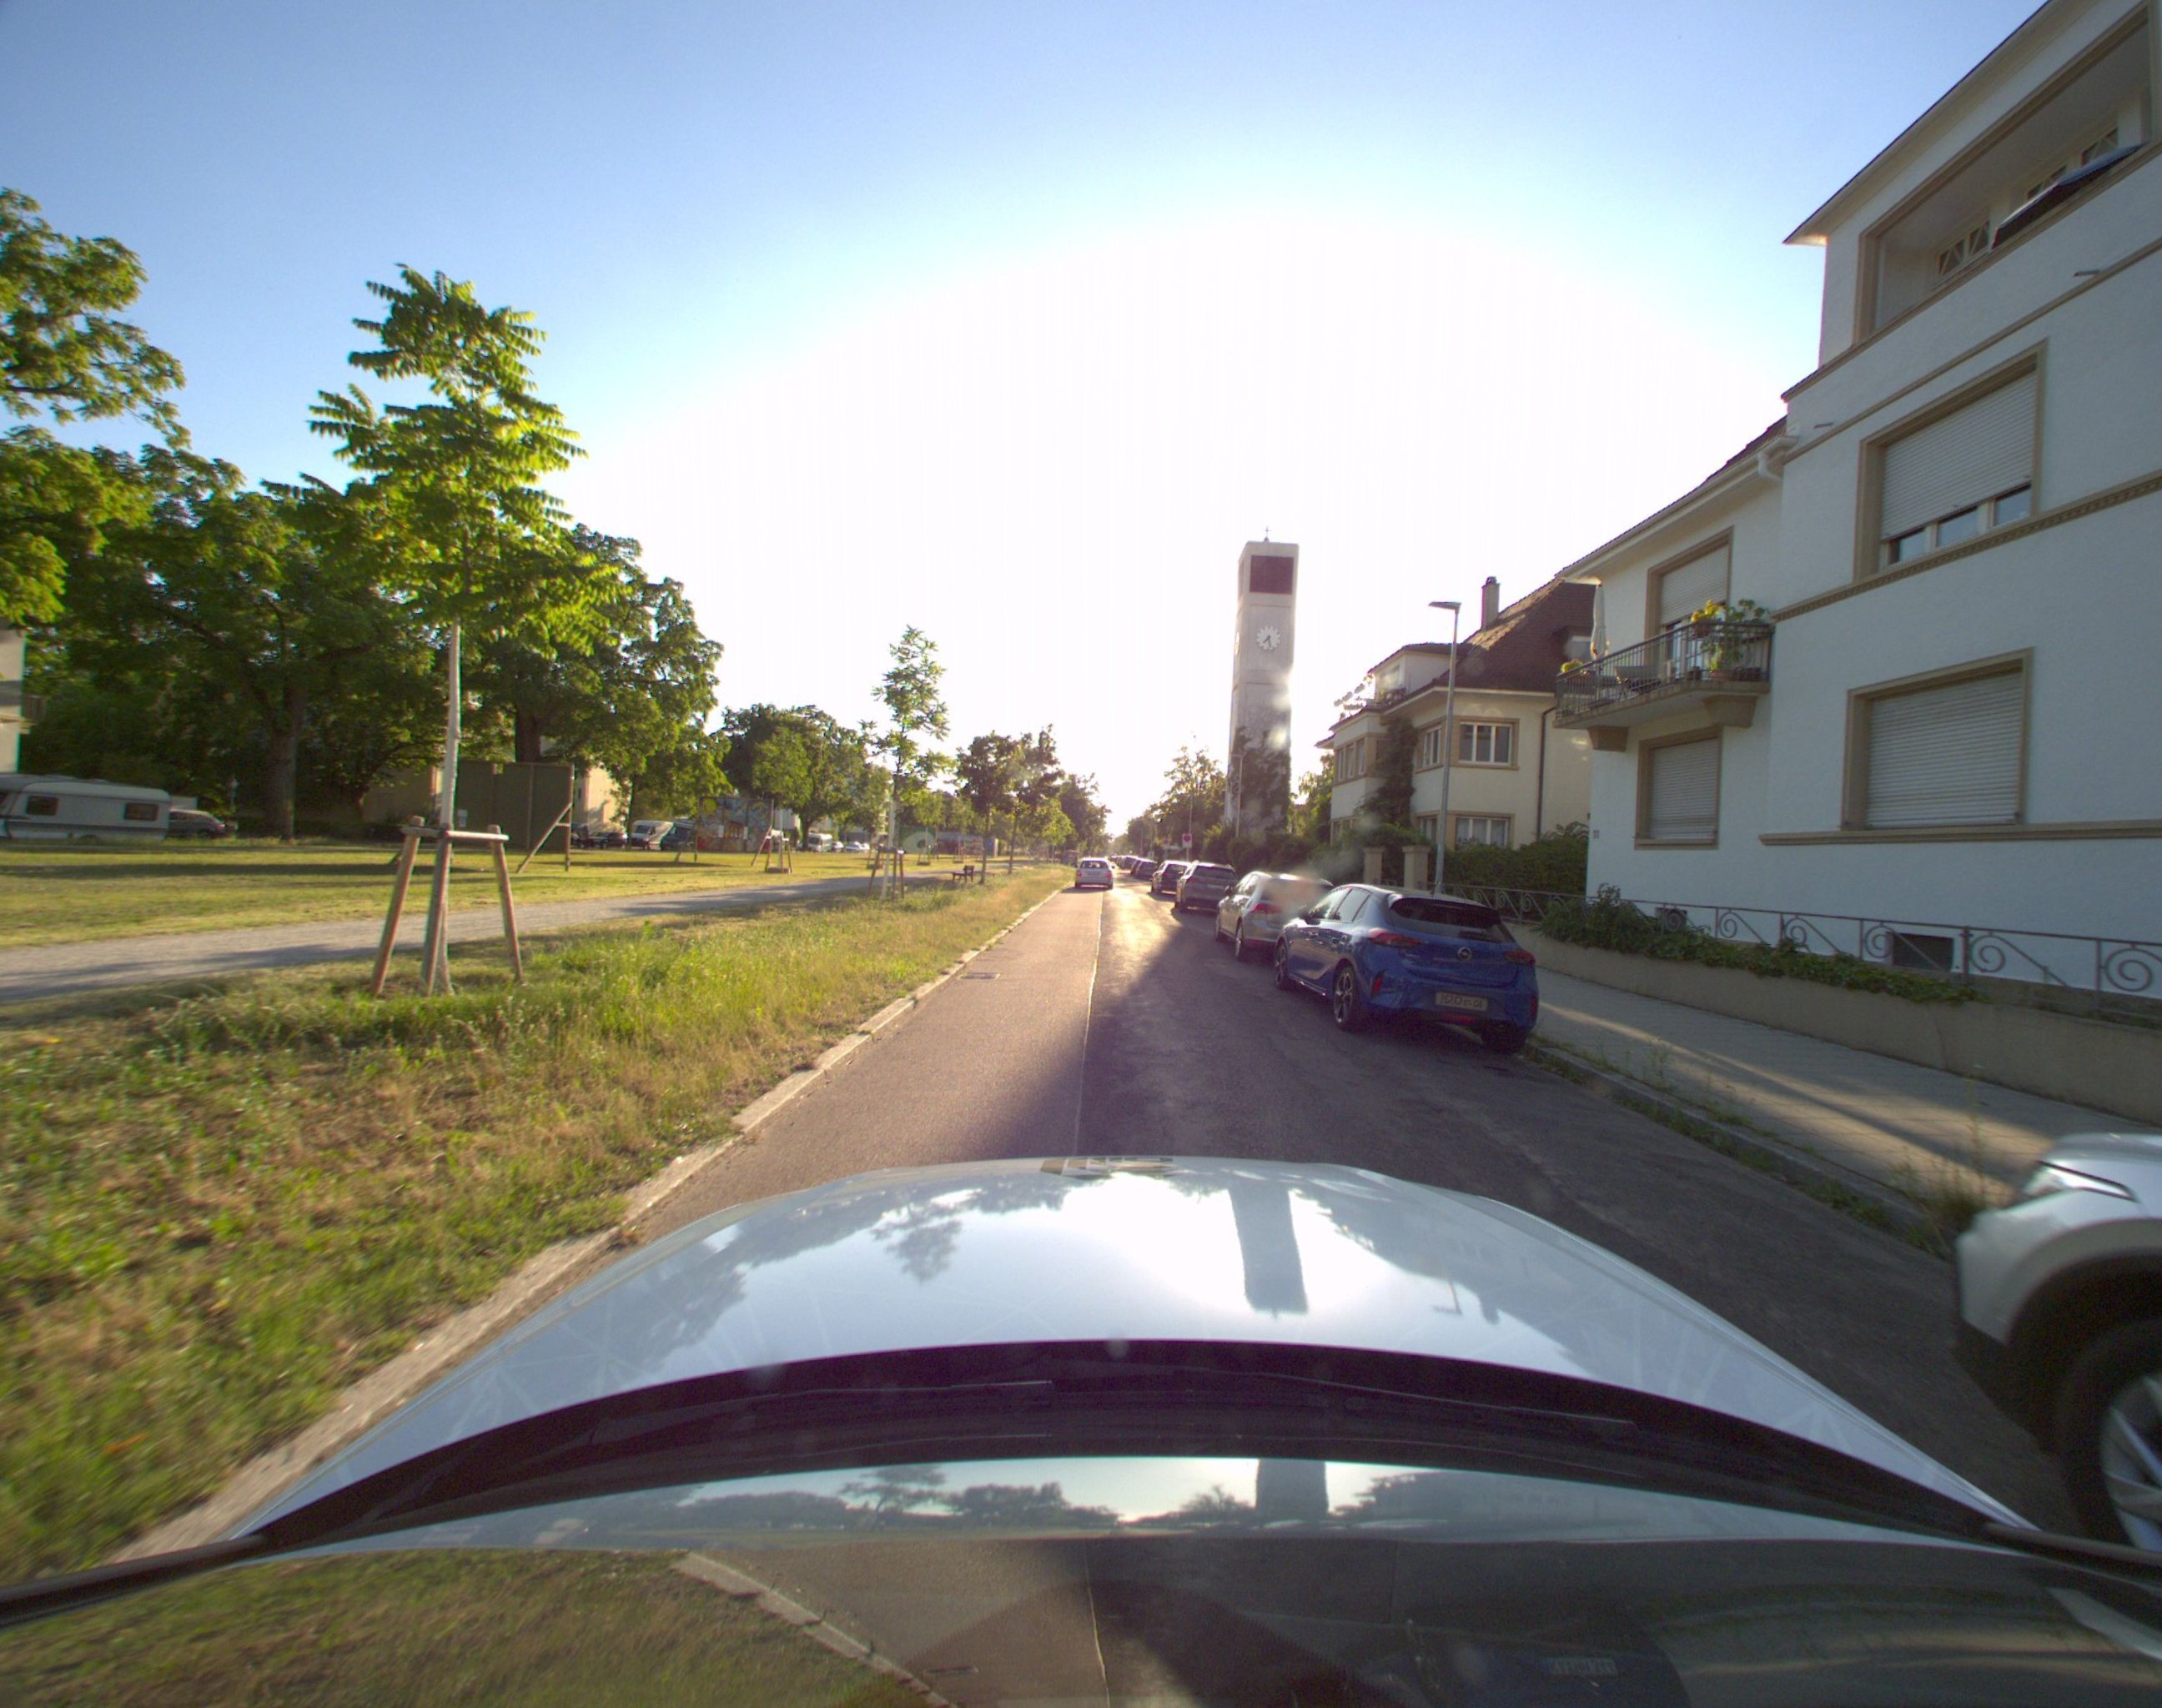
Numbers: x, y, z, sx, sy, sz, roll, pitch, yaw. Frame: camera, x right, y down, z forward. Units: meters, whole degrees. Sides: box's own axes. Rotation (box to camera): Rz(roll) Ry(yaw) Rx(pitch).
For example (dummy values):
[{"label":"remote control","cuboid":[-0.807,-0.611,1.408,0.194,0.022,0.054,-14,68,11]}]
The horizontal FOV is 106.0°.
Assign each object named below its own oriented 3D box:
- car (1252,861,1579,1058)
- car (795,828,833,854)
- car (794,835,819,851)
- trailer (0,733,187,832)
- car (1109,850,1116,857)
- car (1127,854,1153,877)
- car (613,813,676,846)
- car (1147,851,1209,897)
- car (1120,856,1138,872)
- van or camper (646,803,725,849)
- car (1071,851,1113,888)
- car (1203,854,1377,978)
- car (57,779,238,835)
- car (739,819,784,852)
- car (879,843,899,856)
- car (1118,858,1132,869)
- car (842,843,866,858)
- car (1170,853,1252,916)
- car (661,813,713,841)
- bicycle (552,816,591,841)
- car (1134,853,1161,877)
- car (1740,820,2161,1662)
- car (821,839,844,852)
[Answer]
[{"label":"car","cuboid":[3.354,0.949,9.205,1.757,1.435,4.302,10,-1,0]},{"label":"car","cuboid":[-30.945,-1.446,94.653,2.252,2.826,5.873,0,-1,2]},{"label":"car","cuboid":[-36.578,-1.441,108.631,1.723,1.854,4.715,0,-1,1]},{"label":"trailer","cuboid":[-32.913,-2.192,25.434,2.464,2.659,6.637,0,-1,1]},{"label":"car","cuboid":[9.814,-0.051,253.062,1.981,2.023,4.002,4,0,2]},{"label":"car","cuboid":[4.928,0.926,68.149,1.816,1.561,4.624,10,0,2]},{"label":"car","cuboid":[-38.031,-2.068,71.160,1.986,2.598,6.091,0,-1,1]},{"label":"car","cuboid":[4.133,0.866,35.570,1.987,1.597,4.886,8,-1,1]},{"label":"car","cuboid":[5.665,1.170,96.563,1.826,1.732,5.032,6,-1,1]},{"label":"van or camper","cuboid":[-31.792,-2.161,65.808,2.631,3.262,6.908,4,0,2]},{"label":"car","cuboid":[0.580,0.687,38.380,1.816,1.566,4.002,2,0,2]},{"label":"car","cuboid":[3.474,0.928,14.494,1.904,1.559,4.569,8,1,2]},{"label":"car","cuboid":[-38.727,-1.887,34.011,1.882,1.912,4.717,4,0,2]},{"label":"car","cuboid":[-36.765,-2.082,93.875,2.294,3.559,6.767,0,-1,2]},{"label":"car","cuboid":[-30.273,-0.758,128.455,1.882,1.917,4.328,0,-1,2]},{"label":"car","cuboid":[6.702,1.386,124.298,1.985,1.462,4.565,5,0,3]},{"label":"car","cuboid":[-30.692,-0.434,110.265,1.826,1.899,4.645,0,-1,3]},{"label":"car","cuboid":[3.861,0.890,24.846,1.876,1.536,4.465,7,-1,3]},{"label":"car","cuboid":[-31.792,-2.161,65.808,1.986,2.013,4.002,4,0,2]},{"label":"bicycle","cuboid":[-29.395,-1.444,47.027,0.508,1.342,2.333,4,0,5]},{"label":"car","cuboid":[4.948,0.777,61.200,1.681,1.527,4.177,7,1,2]},{"label":"car","cuboid":[3.081,0.844,0.318,1.795,1.648,4.583,8,-1,0]},{"label":"car","cuboid":[-36.268,-1.205,118.900,1.775,1.703,4.668,0,-1,2]}]
